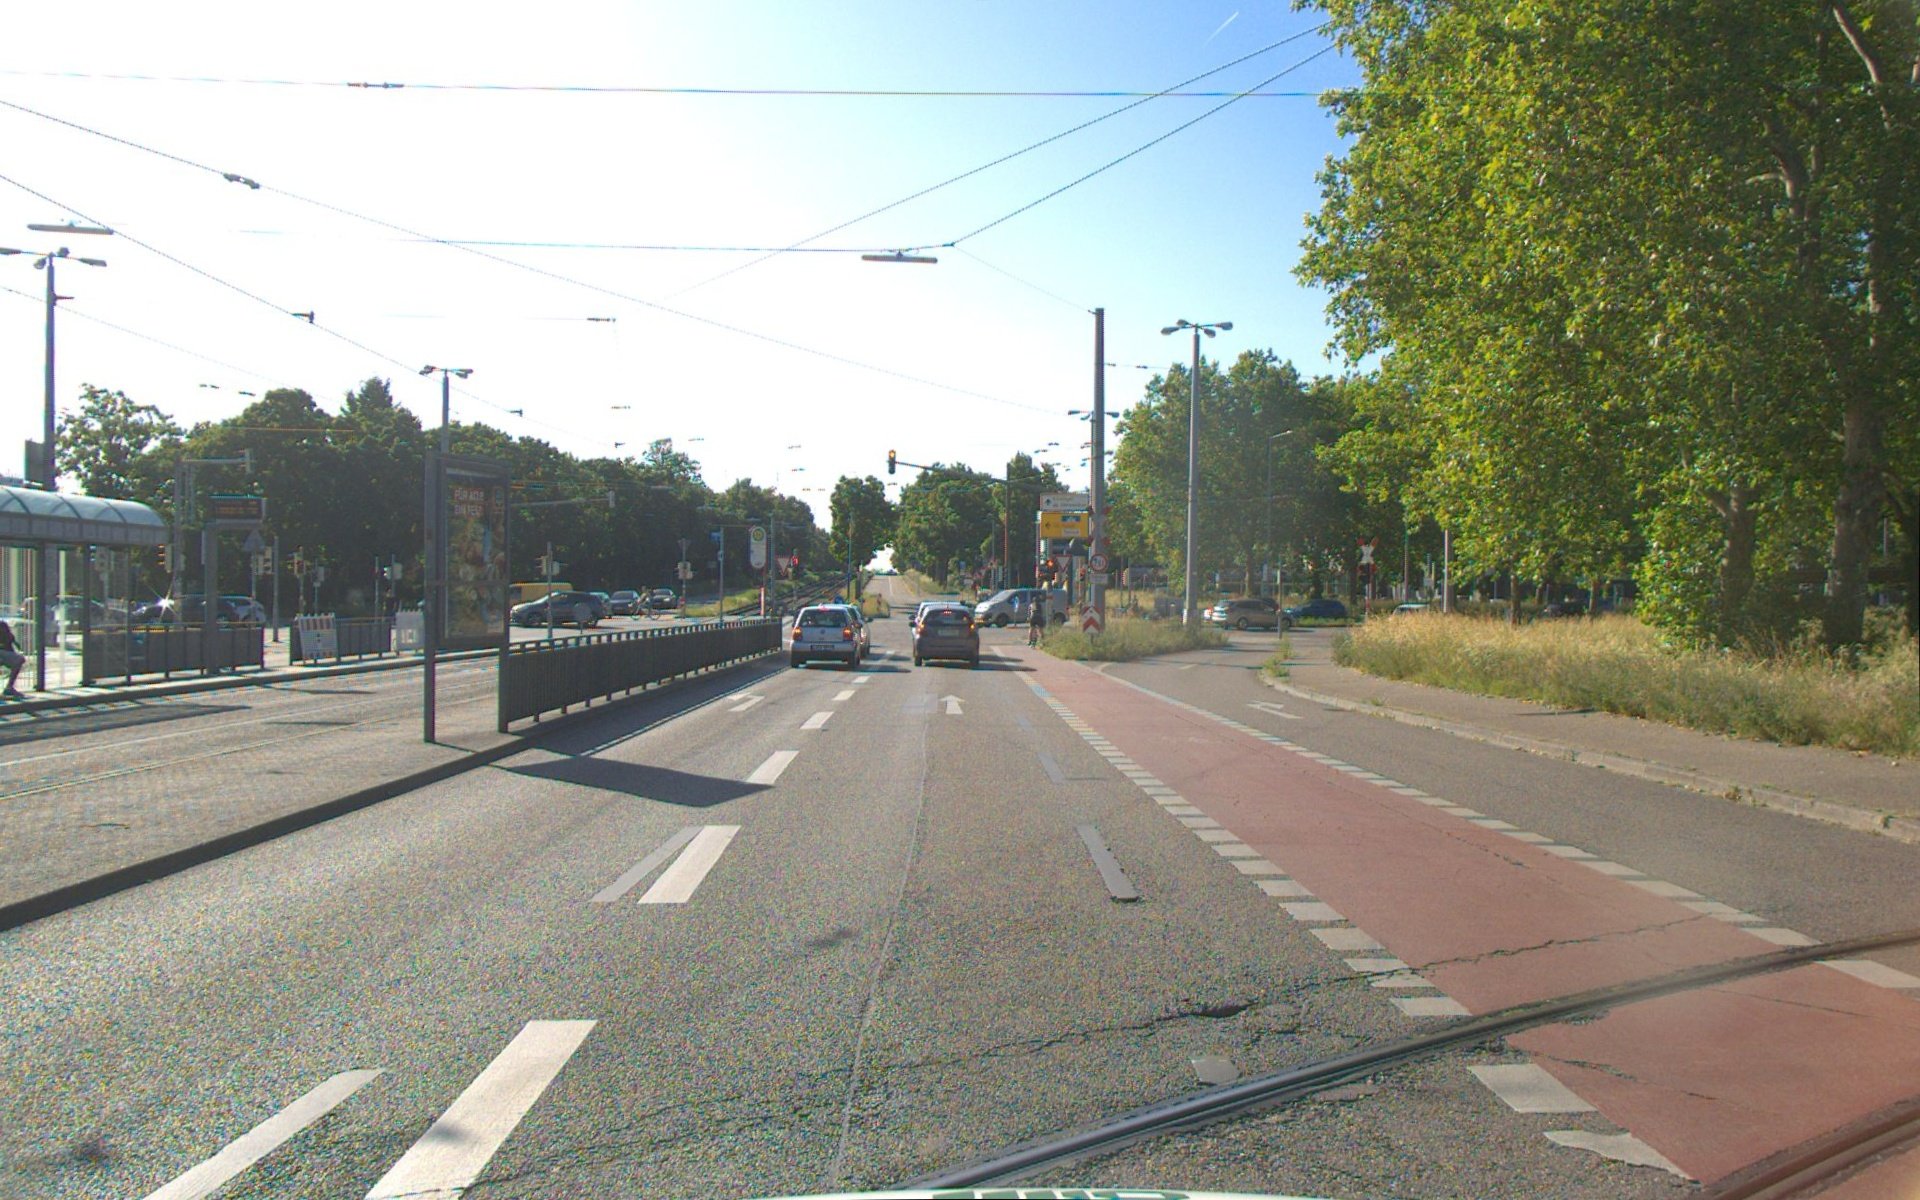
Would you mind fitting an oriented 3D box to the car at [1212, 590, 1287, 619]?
[{"bbox_3d":[16.157,0.254,92.216,3.933,1.557,1.594,-1,0,-24],"label":"car"}]

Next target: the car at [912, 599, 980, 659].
[{"bbox_3d":[-0.402,0.716,42.851,1.635,1.487,3.584,0,0,-2],"label":"car"}]

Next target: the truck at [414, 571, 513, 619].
[{"bbox_3d":[-27.958,-0.307,93.368,1.951,2.610,6.827,0,0,16],"label":"truck"}]

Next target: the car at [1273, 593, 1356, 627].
[{"bbox_3d":[21.554,0.620,100.548,4.624,1.912,1.986,2,-1,-23],"label":"car"}]

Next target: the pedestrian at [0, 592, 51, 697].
[{"bbox_3d":[-13.930,0.637,23.901,1.039,1.478,1.007,-1,-1,-1],"label":"pedestrian"}]

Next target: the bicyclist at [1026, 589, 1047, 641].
[{"bbox_3d":[2.622,0.506,56.765,0.652,1.746,0.948,1,-1,-1],"label":"bicyclist"}]

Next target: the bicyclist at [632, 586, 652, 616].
[{"bbox_3d":[-17.557,0.041,91.393,0.991,1.676,0.813,0,0,-19],"label":"bicyclist"}]

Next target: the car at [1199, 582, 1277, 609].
[{"bbox_3d":[14.958,-0.248,88.940,3.950,1.427,1.598,0,0,-24],"label":"car"}]

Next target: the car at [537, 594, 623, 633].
[{"bbox_3d":[-17.689,0.626,76.940,3.566,1.739,1.737,2,-1,-27],"label":"car"}]

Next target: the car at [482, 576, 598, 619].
[{"bbox_3d":[-20.294,-0.091,79.996,5.095,1.912,1.982,2,-1,-28],"label":"car"}]

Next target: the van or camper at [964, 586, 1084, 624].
[{"bbox_3d":[3.227,0.238,83.335,5.899,1.860,1.982,0,1,-28],"label":"van or camper"}]

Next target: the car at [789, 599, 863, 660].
[{"bbox_3d":[-3.251,0.707,40.718,1.586,1.442,3.350,0,0,-1],"label":"car"}]

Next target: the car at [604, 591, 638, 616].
[{"bbox_3d":[-21.588,0.199,105.466,1.797,1.575,4.278,0,0,-7],"label":"car"}]

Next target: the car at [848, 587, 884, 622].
[{"bbox_3d":[-5.722,0.271,101.059,1.953,2.049,4.491,2,0,0],"label":"car"}]

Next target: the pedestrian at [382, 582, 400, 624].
[{"bbox_3d":[-27.930,0.136,81.224,0.735,2.049,0.789,0,0,-13],"label":"pedestrian"}]

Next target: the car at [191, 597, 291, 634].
[{"bbox_3d":[-31.888,0.696,73.359,3.940,1.499,1.736,2,-1,-28],"label":"car"}]

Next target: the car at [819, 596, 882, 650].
[{"bbox_3d":[-3.166,0.645,48.386,1.586,1.482,4.084,1,0,-1],"label":"car"}]

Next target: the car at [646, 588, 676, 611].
[{"bbox_3d":[-21.706,-0.053,120.152,1.956,1.632,4.747,1,0,-8],"label":"car"}]

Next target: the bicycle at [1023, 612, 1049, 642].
[{"bbox_3d":[2.609,0.920,56.842,0.707,1.006,2.875,2,0,-1],"label":"bicycle"}]

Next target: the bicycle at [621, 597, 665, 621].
[{"bbox_3d":[-17.516,0.497,91.375,2.359,1.285,0.813,0,0,-19],"label":"bicycle"}]
